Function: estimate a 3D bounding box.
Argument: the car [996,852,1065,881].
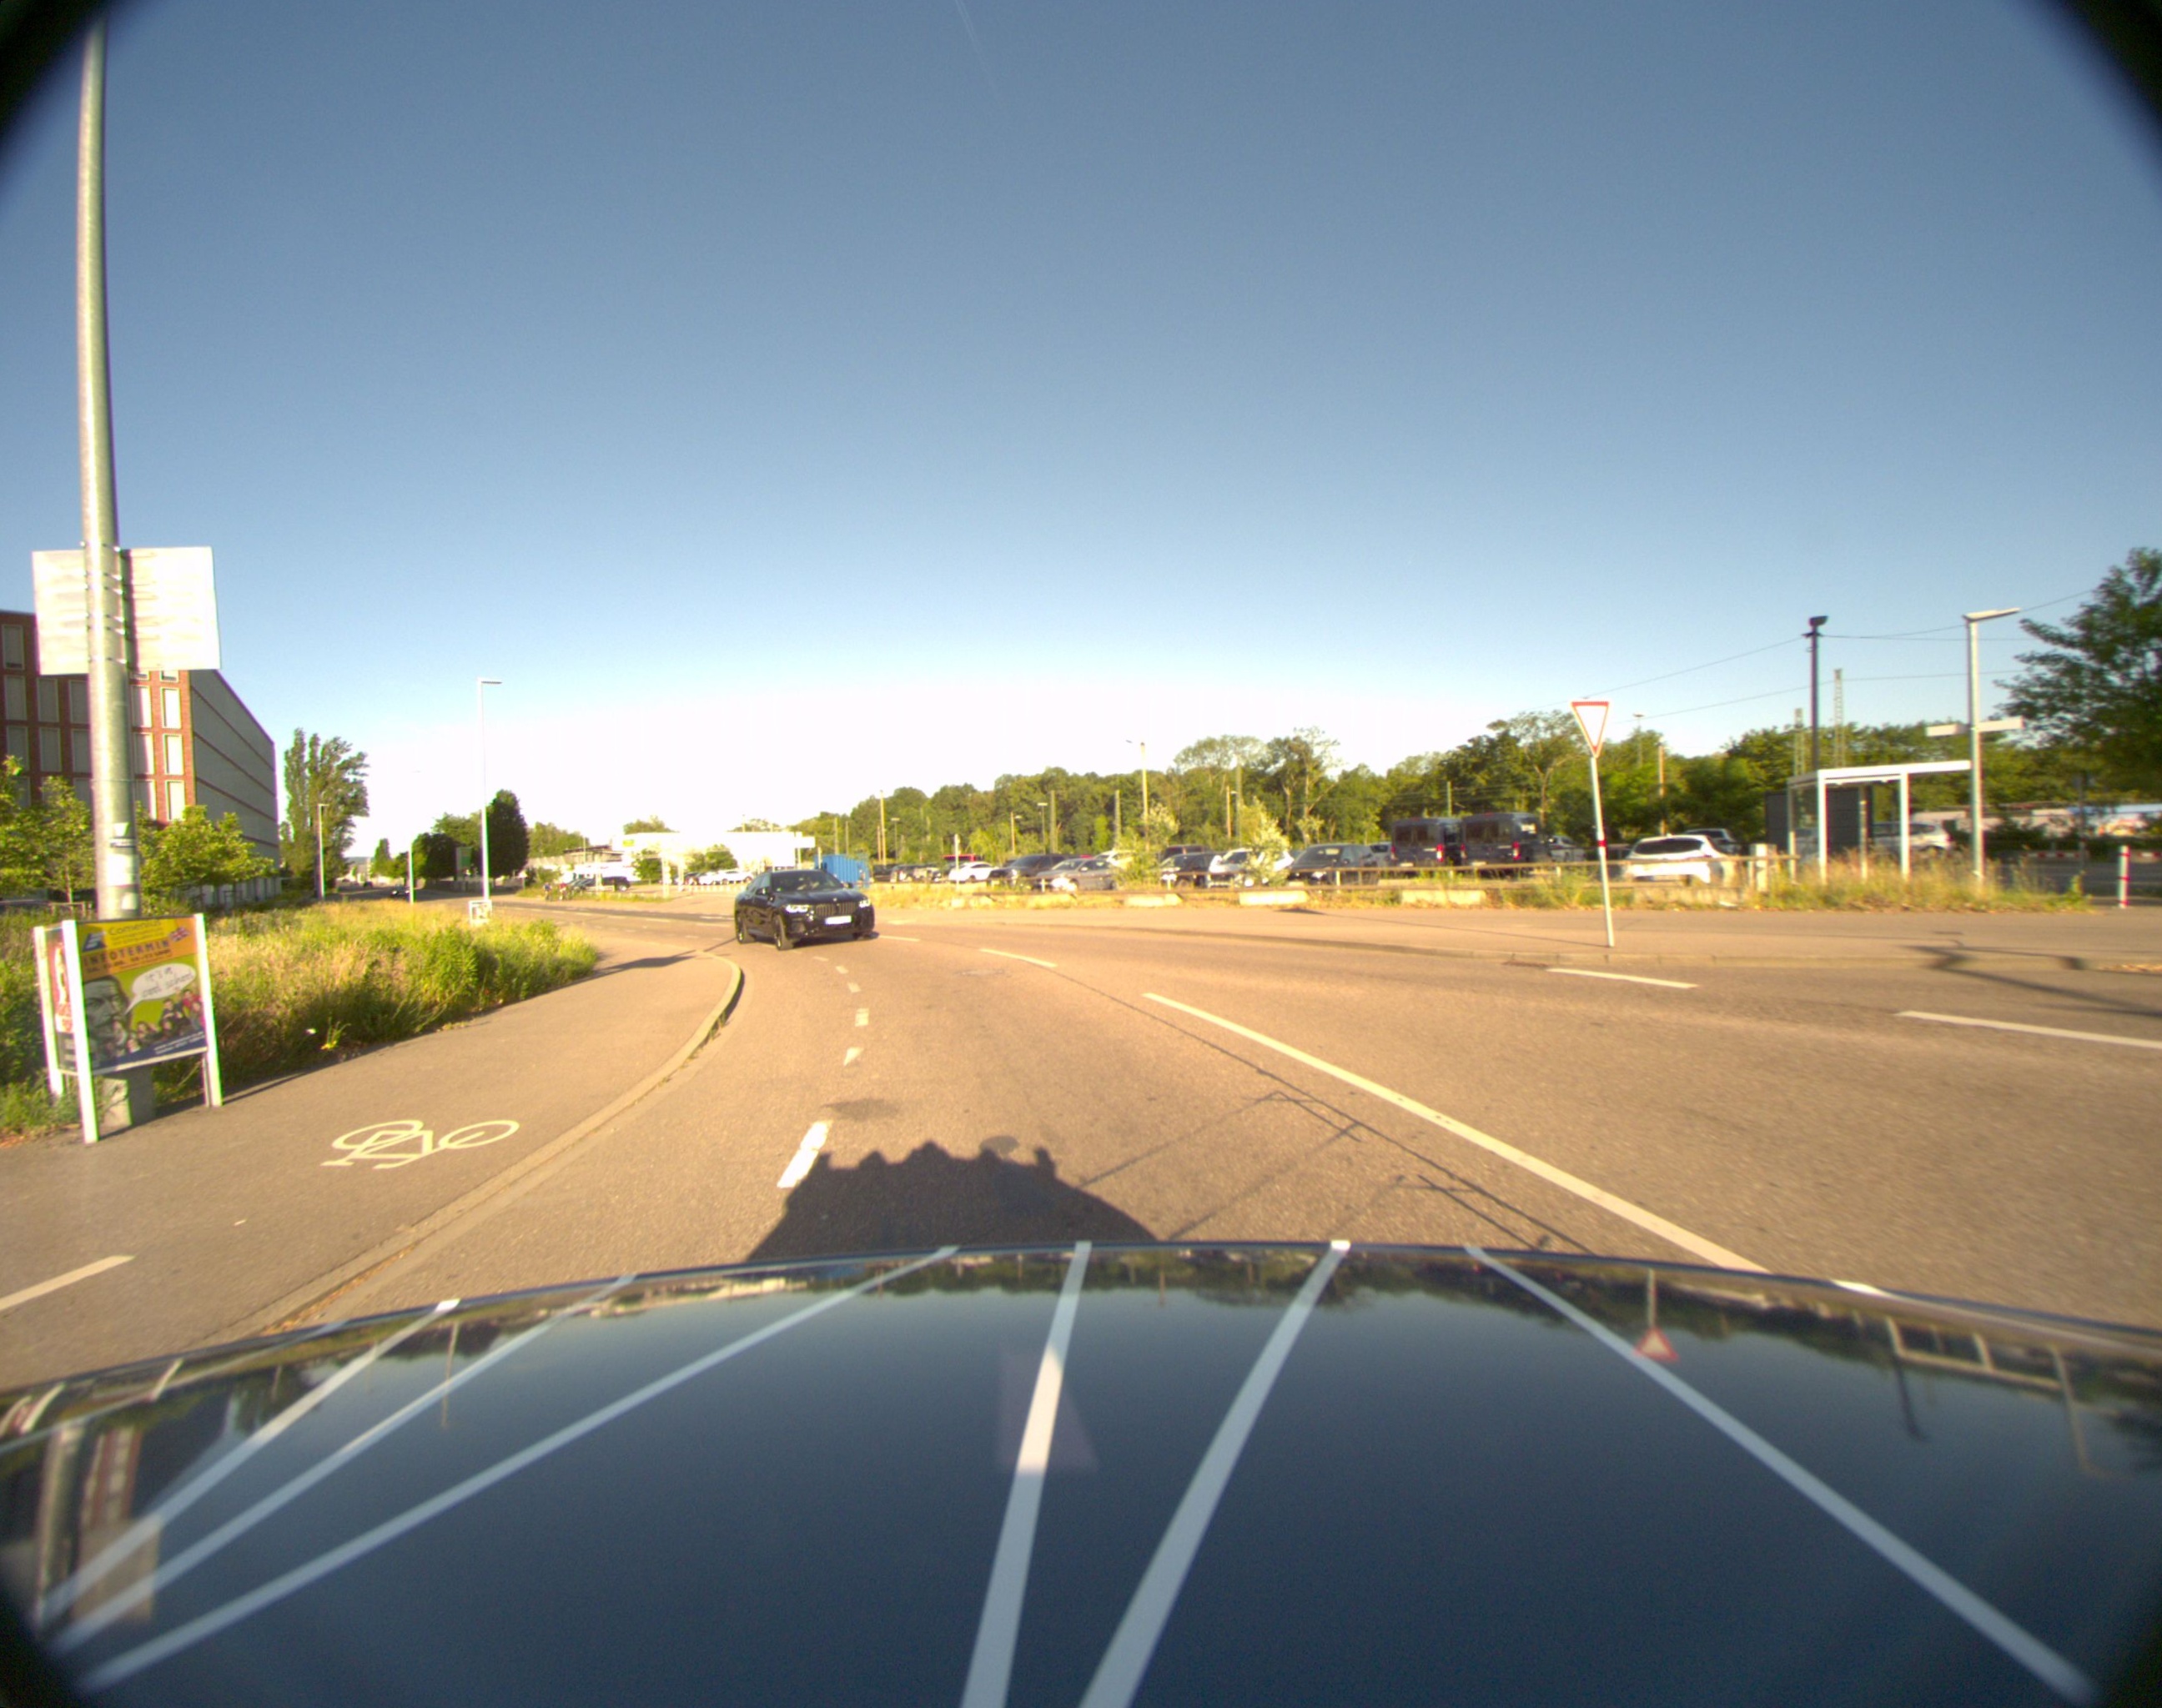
[{"bbox_3d":[-3.288,0.812,49.899,1.981,1.580,4.210,-3,2,43],"label":"car"}]

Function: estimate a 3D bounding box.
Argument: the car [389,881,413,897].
[{"bbox_3d":[-89.495,4.595,99.994,3.989,2.002,2.004,-2,1,45],"label":"car"}]

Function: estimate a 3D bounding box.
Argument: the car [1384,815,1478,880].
[{"bbox_3d":[14.545,-0.312,31.428,2.123,2.453,4.490,-2,1,43],"label":"car"}]

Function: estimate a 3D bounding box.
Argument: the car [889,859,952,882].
[{"bbox_3d":[-12.563,1.261,59.698,1.864,1.421,4.454,-3,2,43],"label":"car"}]

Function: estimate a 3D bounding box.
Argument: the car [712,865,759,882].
[{"bbox_3d":[-38.479,2.202,84.625,1.822,1.538,4.305,-3,2,41],"label":"car"}]

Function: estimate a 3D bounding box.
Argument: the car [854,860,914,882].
[{"bbox_3d":[-16.409,1.404,63.533,1.864,1.505,4.454,-3,2,43],"label":"car"}]

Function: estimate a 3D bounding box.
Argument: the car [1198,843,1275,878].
[{"bbox_3d":[8.081,0.330,39.319,1.995,1.585,4.007,-3,0,45],"label":"car"}]

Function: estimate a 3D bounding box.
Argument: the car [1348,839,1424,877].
[{"bbox_3d":[13.882,0.146,34.460,1.829,1.499,3.758,-3,1,45],"label":"car"}]

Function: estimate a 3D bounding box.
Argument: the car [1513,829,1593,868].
[{"bbox_3d":[21.045,-0.277,33.789,4.210,1.490,1.981,-4,1,-44],"label":"car"}]

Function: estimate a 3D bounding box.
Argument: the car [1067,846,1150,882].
[{"bbox_3d":[1.642,0.579,44.701,4.710,1.685,2.034,-5,2,-43],"label":"car"}]

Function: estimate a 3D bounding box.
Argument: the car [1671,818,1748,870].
[{"bbox_3d":[24.912,-0.431,30.051,1.981,1.798,4.210,-3,1,44],"label":"car"}]

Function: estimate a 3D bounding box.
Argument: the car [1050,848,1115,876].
[{"bbox_3d":[0.117,0.474,47.341,1.721,1.496,4.007,-1,2,43],"label":"car"}]

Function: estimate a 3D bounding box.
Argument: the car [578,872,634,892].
[{"bbox_3d":[-50.749,2.953,81.163,1.797,1.731,4.665,-3,2,44],"label":"car"}]

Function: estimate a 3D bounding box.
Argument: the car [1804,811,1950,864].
[{"bbox_3d":[29.285,-0.626,28.174,2.172,1.720,4.499,-3,1,25],"label":"car"}]

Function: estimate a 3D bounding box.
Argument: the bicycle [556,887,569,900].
[{"bbox_3d":[-44.823,3.409,65.671,0.559,1.058,1.720,-5,1,-44],"label":"bicycle"}]

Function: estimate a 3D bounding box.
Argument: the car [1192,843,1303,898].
[{"bbox_3d":[5.660,0.527,25.560,1.882,1.601,4.065,-2,0,40],"label":"car"}]

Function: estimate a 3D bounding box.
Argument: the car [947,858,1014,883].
[{"bbox_3d":[-7.074,1.142,53.836,1.864,1.370,4.454,-3,2,43],"label":"car"}]

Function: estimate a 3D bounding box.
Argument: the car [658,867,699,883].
[{"bbox_3d":[-50.453,2.628,95.327,1.740,1.600,4.311,-3,1,25],"label":"car"}]

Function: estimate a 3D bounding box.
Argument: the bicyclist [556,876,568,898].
[{"bbox_3d":[-44.835,2.844,65.655,0.570,1.860,0.851,-4,1,-45],"label":"bicyclist"}]

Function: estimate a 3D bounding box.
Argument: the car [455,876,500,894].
[{"bbox_3d":[-104.463,5.363,131.576,5.784,2.686,1.995,-4,1,-45],"label":"car"}]

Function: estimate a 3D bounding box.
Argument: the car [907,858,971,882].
[{"bbox_3d":[-10.723,1.171,57.770,1.864,1.458,4.454,-3,2,43],"label":"car"}]

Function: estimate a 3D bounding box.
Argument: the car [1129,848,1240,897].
[{"bbox_3d":[3.794,0.632,27.492,4.007,1.506,1.851,-3,0,-44],"label":"car"}]

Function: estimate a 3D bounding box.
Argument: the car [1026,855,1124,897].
[{"bbox_3d":[-0.180,0.879,31.268,1.834,1.445,3.932,-3,1,41],"label":"car"}]

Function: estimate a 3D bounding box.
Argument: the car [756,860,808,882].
[{"bbox_3d":[-29.850,1.677,75.904,4.454,1.767,1.865,-5,2,-39],"label":"car"}]

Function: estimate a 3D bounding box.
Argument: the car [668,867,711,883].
[{"bbox_3d":[-48.317,2.594,93.849,1.782,1.615,4.327,-3,1,25],"label":"car"}]

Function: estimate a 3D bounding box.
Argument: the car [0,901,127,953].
[{"bbox_3d":[-47.462,3.335,34.684,4.540,2.002,1.995,-3,1,-43],"label":"car"}]

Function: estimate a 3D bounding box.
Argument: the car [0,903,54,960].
[{"bbox_3d":[-37.718,2.704,25.000,4.341,1.817,1.995,-3,1,-44],"label":"car"}]

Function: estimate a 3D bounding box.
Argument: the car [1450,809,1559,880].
[{"bbox_3d":[16.665,-0.427,29.742,2.395,2.502,5.522,-3,1,43],"label":"car"}]

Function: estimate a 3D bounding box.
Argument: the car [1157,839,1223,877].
[{"bbox_3d":[5.945,0.200,41.294,1.766,1.724,3.786,-3,2,39],"label":"car"}]

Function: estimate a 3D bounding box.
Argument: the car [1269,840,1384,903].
[{"bbox_3d":[7.714,0.492,23.656,1.868,1.645,4.152,-3,1,41],"label":"car"}]

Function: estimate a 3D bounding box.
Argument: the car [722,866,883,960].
[{"bbox_3d":[-6.504,1.225,17.390,2.052,1.704,4.739,-4,1,-37],"label":"car"}]

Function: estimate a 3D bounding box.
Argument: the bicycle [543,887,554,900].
[{"bbox_3d":[-46.686,3.481,66.627,0.504,1.118,1.561,-5,1,-44],"label":"bicycle"}]

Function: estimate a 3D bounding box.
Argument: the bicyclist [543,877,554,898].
[{"bbox_3d":[-46.690,2.925,66.583,0.570,1.860,0.851,-4,1,-45],"label":"bicyclist"}]

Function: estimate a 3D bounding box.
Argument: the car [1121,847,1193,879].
[{"bbox_3d":[4.337,0.488,43.039,1.886,1.479,3.950,-2,2,45],"label":"car"}]

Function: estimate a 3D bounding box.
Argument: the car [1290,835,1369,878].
[{"bbox_3d":[11.631,0.080,35.405,1.823,1.572,4.006,-3,4,45],"label":"car"}]

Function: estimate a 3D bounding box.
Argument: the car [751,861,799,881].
[{"bbox_3d":[-31.639,1.739,78.586,4.082,1.767,1.865,-5,2,-39],"label":"car"}]

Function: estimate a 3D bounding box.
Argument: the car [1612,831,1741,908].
[{"bbox_3d":[14.153,0.310,17.962,1.886,1.502,4.281,-2,1,44],"label":"car"}]

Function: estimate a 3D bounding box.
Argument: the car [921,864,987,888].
[{"bbox_3d":[-9.209,1.589,55.535,1.864,1.435,4.455,-3,1,43],"label":"car"}]

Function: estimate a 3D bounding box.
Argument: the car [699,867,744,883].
[{"bbox_3d":[-40.564,2.322,85.804,1.757,1.477,4.166,-3,2,41],"label":"car"}]

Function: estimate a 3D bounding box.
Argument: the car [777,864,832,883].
[{"bbox_3d":[-26.241,1.823,72.286,4.454,1.436,1.917,-5,2,-39],"label":"car"}]

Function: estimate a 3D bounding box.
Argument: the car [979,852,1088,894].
[{"bbox_3d":[-2.035,0.799,33.400,2.063,1.733,4.548,-3,-2,44],"label":"car"}]
